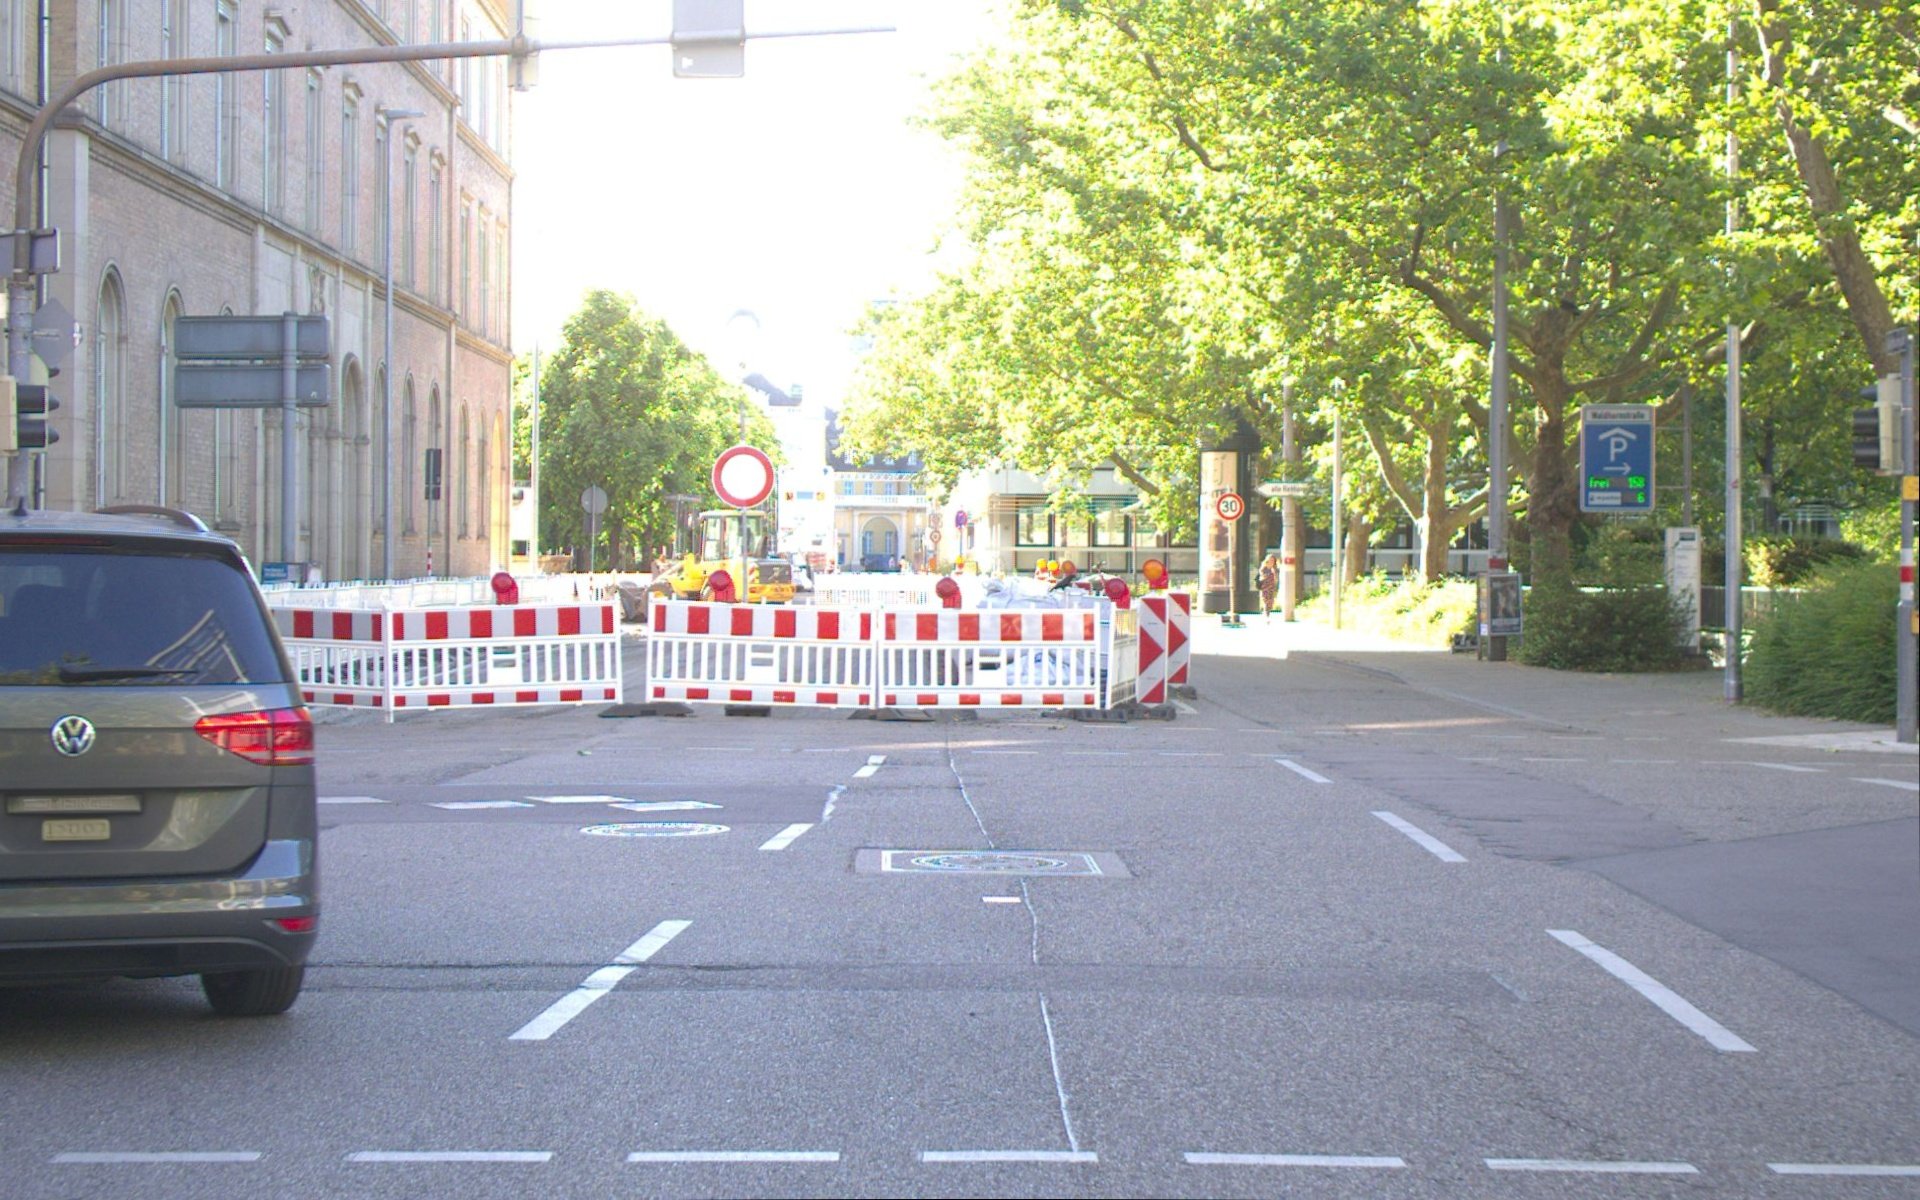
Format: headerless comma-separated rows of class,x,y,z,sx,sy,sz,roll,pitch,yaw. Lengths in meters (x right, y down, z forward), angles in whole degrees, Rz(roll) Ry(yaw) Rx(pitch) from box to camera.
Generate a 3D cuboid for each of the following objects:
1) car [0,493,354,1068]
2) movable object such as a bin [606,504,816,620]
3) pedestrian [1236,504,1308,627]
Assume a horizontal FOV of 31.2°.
car,-3.475,0.464,11.411,1.762,1.601,4.001,0,1,-27
movable object such as a bin,-6.155,-0.936,84.715,4.838,2.767,2.468,1,1,41
pedestrian,6.842,-0.751,75.347,1.420,2.658,1.148,1,0,11
